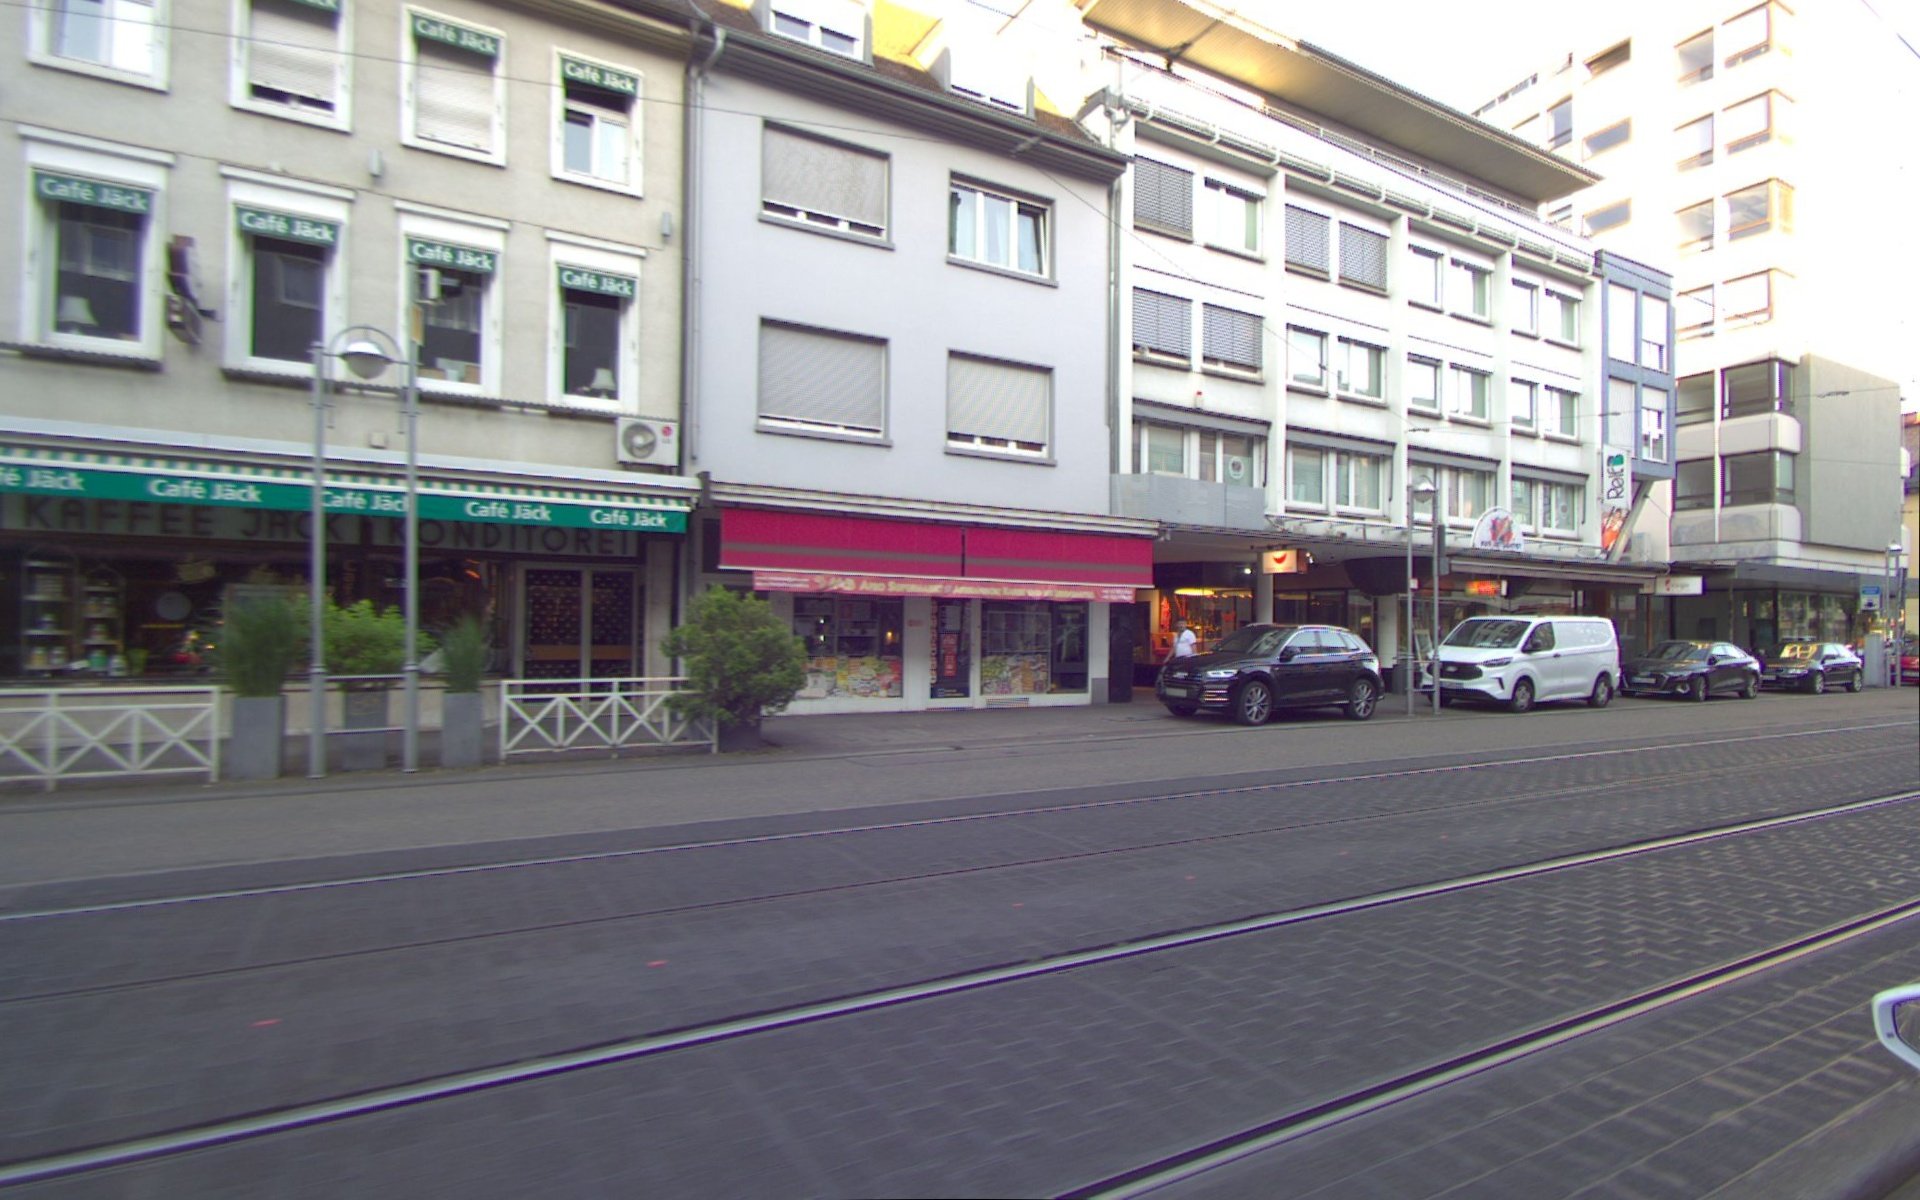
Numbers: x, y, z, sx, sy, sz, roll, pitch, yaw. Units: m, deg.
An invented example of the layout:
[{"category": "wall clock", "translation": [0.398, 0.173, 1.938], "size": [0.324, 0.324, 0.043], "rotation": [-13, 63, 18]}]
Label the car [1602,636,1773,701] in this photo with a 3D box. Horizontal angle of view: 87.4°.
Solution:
[{"category": "car", "translation": [18.463, 1.702, 25.447], "size": [4.518, 1.445, 1.863], "rotation": [2, 0, -31]}]

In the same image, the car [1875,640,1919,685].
[{"category": "car", "translation": [32.311, 2.068, 33.499], "size": [3.550, 1.453, 1.683], "rotation": [1, -1, -31]}]

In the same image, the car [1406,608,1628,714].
[{"category": "car", "translation": [12.084, 1.269, 21.682], "size": [5.043, 2.040, 1.954], "rotation": [2, 0, -32]}]

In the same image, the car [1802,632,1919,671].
[{"category": "car", "translation": [41.606, 2.339, 46.244], "size": [1.893, 1.573, 3.965], "rotation": [2, 0, -32]}]

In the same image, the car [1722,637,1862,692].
[{"category": "car", "translation": [23.812, 1.802, 28.732], "size": [4.042, 1.480, 1.782], "rotation": [2, -2, -30]}]

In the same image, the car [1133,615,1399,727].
[{"category": "car", "translation": [5.484, 1.200, 17.885], "size": [4.535, 1.720, 1.984], "rotation": [2, 0, -31]}]

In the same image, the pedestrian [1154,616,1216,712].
[{"category": "pedestrian", "translation": [4.394, 1.229, 19.665], "size": [0.809, 1.806, 0.813], "rotation": [2, 0, -30]}]
